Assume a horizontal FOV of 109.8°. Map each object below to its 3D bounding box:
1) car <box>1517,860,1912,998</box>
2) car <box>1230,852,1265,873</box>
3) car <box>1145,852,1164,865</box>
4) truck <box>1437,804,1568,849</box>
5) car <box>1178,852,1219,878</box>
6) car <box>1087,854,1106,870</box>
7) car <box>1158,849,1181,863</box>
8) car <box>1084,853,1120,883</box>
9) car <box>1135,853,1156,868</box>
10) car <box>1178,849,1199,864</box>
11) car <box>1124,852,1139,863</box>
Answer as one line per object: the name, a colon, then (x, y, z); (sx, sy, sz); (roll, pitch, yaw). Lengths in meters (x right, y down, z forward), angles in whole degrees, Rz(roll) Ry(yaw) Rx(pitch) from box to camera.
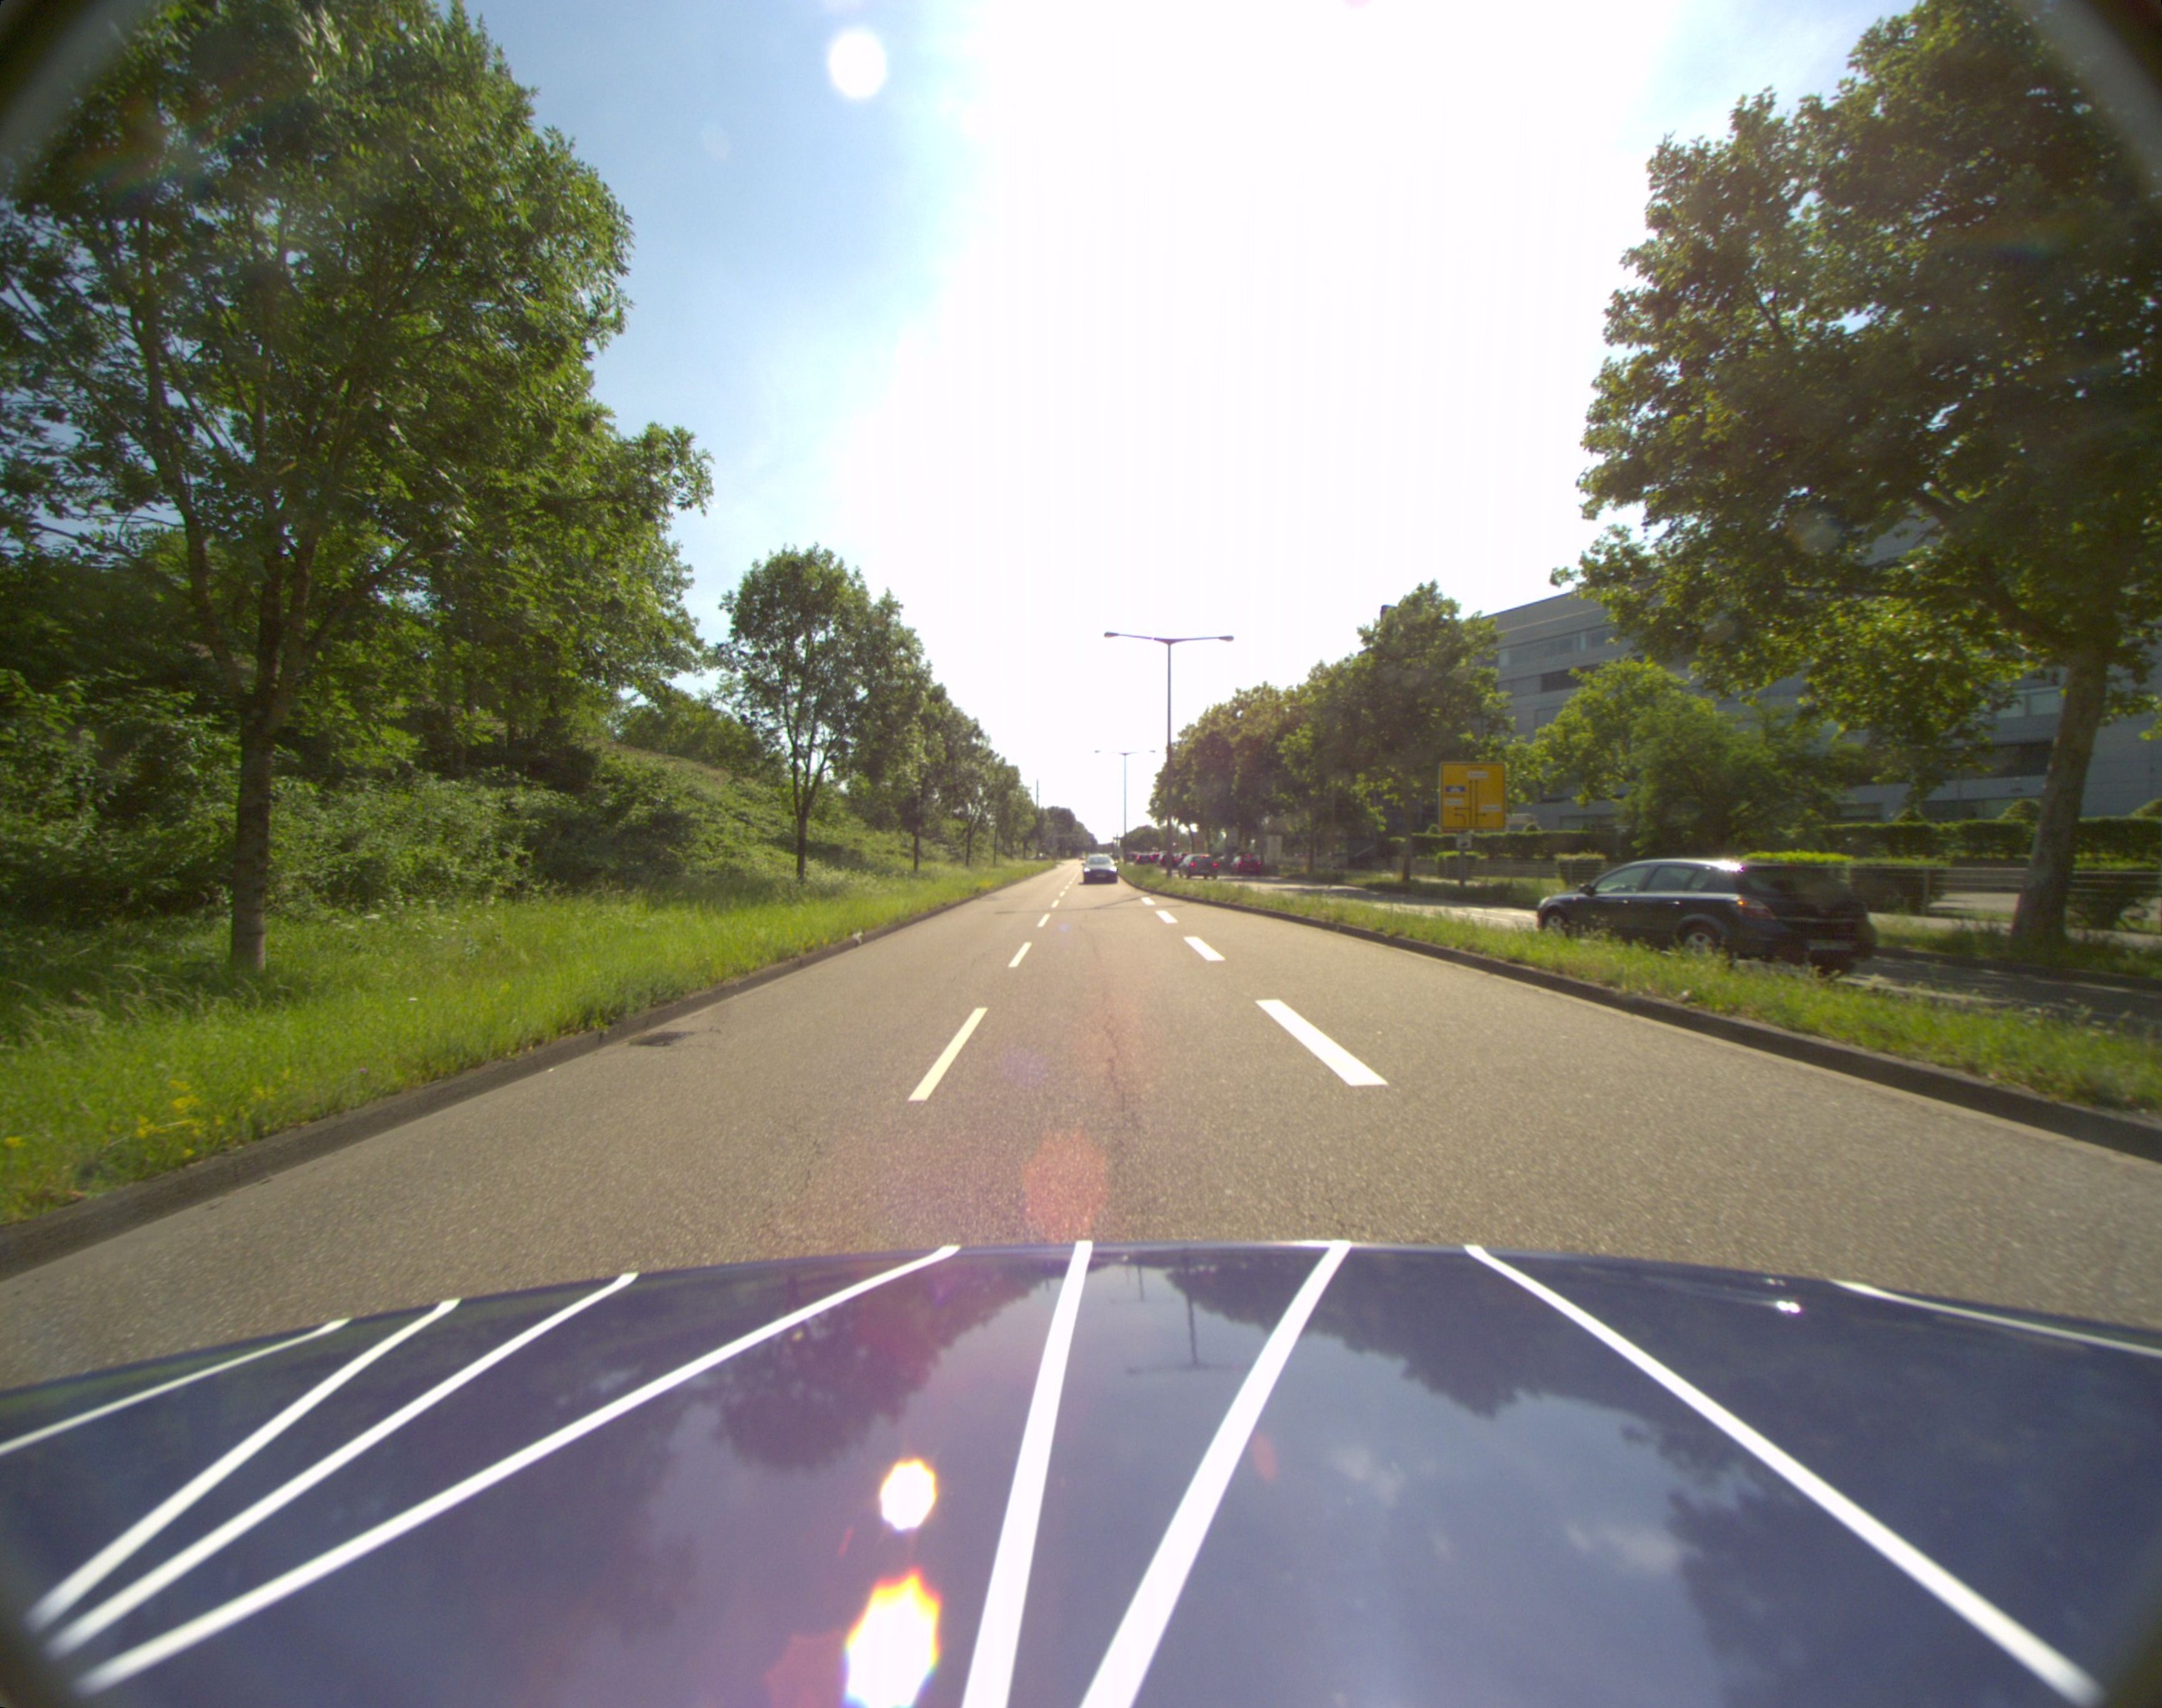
car: (8.207, 0.847, 10.504); (1.773, 1.460, 4.282); (0, 0, -2)
car: (12.446, 0.607, 56.972); (1.768, 1.454, 4.000); (1, 0, 1)
car: (9.473, 0.592, 98.330); (1.998, 1.601, 4.496); (0, 0, 0)
truck: (33.917, -2.084, 61.597); (2.678, 3.376, 8.965); (-1, 0, -36)
car: (6.877, 0.618, 44.933); (1.844, 1.470, 4.166); (0, 0, 1)
car: (1.716, 0.848, 84.511); (1.998, 1.699, 4.431); (0, 0, 0)
car: (9.721, 0.208, 83.890); (1.832, 1.459, 4.987); (0, 0, -1)
car: (1.059, 0.717, 40.640); (1.827, 1.497, 4.216); (0, 0, 0)
car: (6.537, 0.622, 77.450); (1.777, 1.459, 4.671); (1, 0, 1)
car: (13.243, 0.353, 93.954); (1.998, 1.824, 4.651); (1, 0, 0)
car: (7.312, 0.502, 110.396); (1.812, 1.606, 4.491); (0, 0, -1)
